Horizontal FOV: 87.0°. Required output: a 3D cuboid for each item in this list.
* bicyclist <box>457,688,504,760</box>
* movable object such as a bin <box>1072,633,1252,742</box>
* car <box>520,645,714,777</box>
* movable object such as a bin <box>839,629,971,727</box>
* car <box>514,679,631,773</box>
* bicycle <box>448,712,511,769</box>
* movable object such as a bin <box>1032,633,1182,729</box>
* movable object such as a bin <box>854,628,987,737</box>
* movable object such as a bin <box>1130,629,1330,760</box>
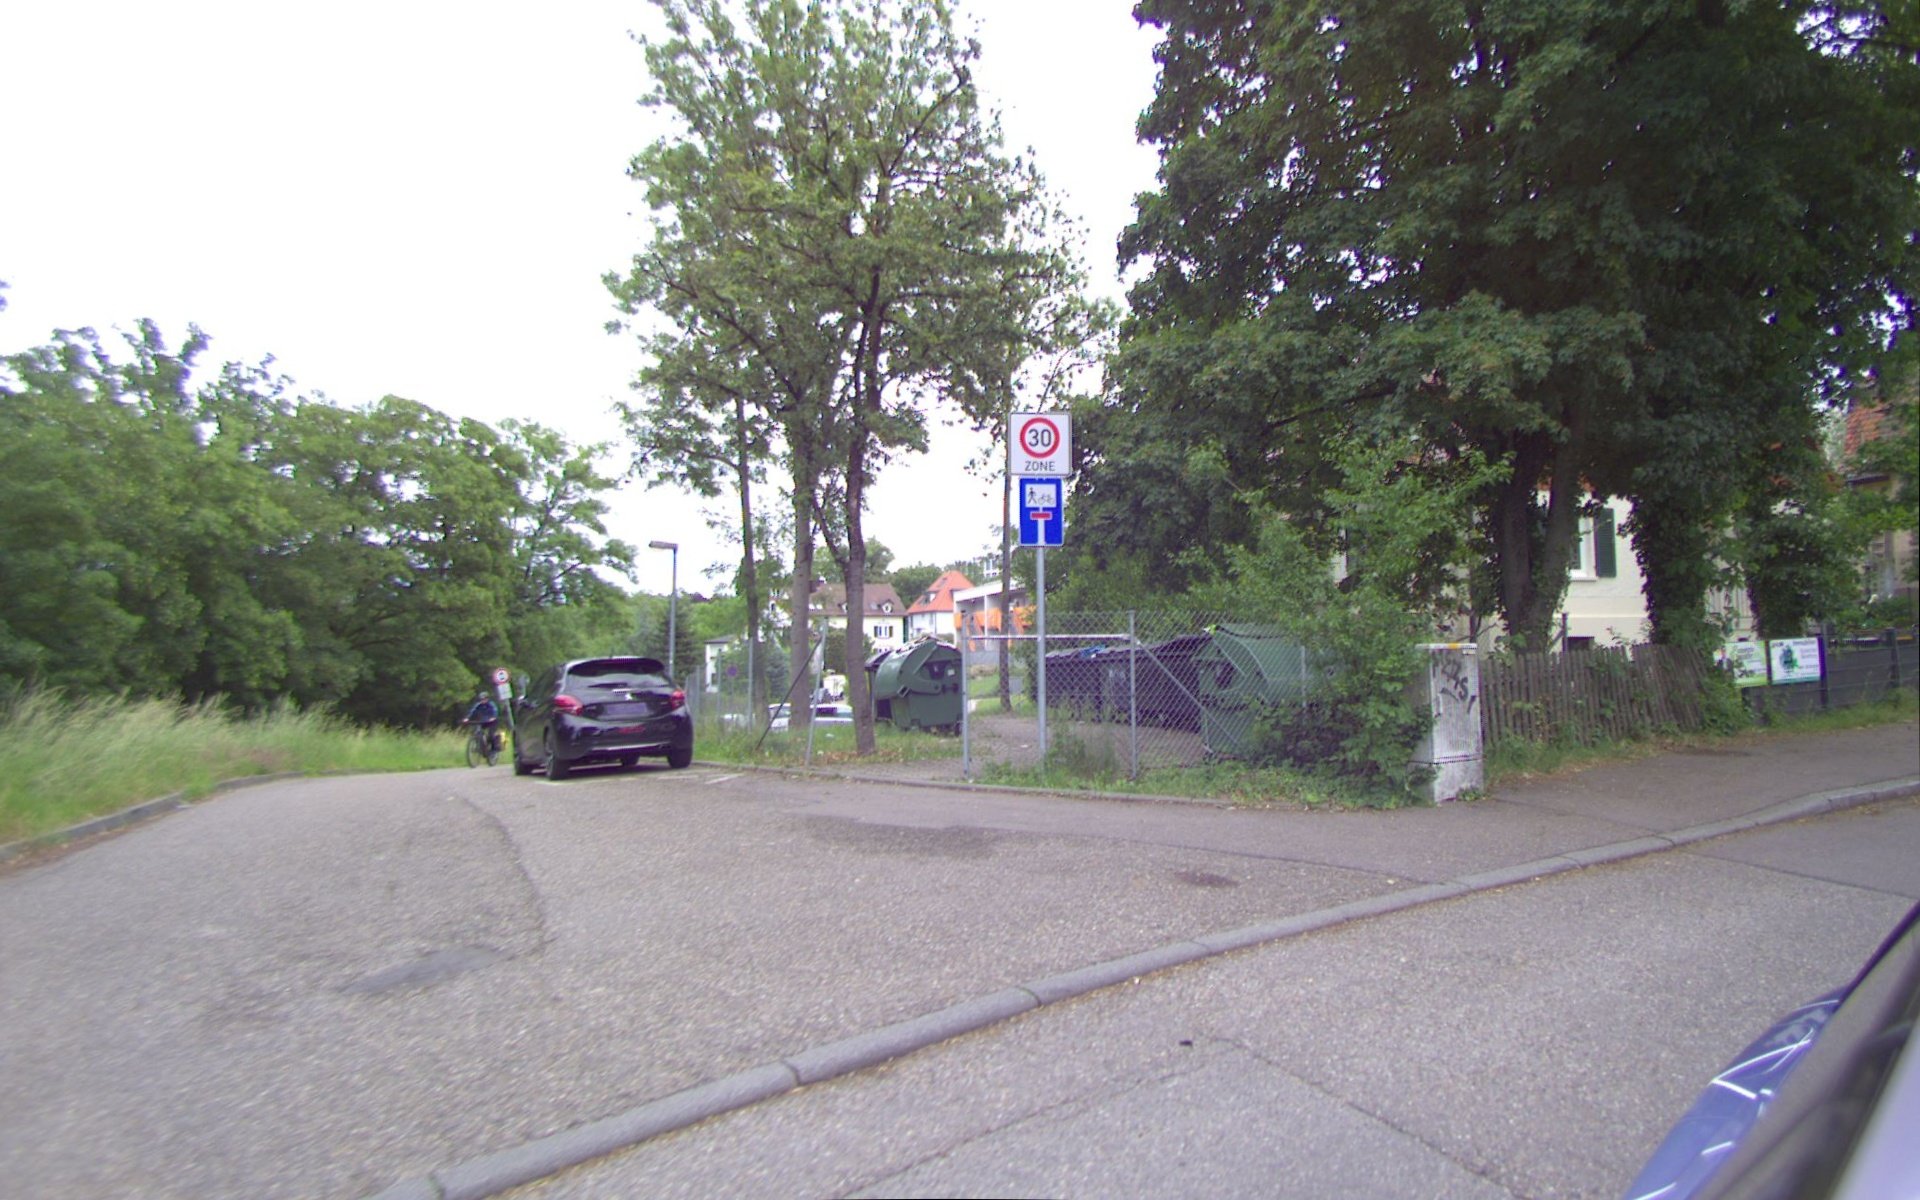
[{"bbox_3d":[-11.531,2.957,24.350,0.750,1.606,0.964,-1,-2,-8],"label":"bicyclist"},{"bbox_3d":[3.568,1.494,18.236,2.162,1.735,2.504,0,-2,-20],"label":"movable object such as a bin"},{"bbox_3d":[-4.686,1.479,13.466,1.795,1.417,3.672,-1,-6,-29],"label":"car"},{"bbox_3d":[-1.048,1.314,18.056,1.417,1.568,2.901,0,-2,-23],"label":"movable object such as a bin"},{"bbox_3d":[-6.742,2.159,17.427,1.519,1.346,3.602,-1,-6,-27],"label":"car"},{"bbox_3d":[-11.518,3.351,24.332,0.750,1.084,2.197,-1,-2,-8],"label":"bicycle"},{"bbox_3d":[2.930,1.573,20.546,2.162,1.754,2.239,0,-2,-20],"label":"movable object such as a bin"},{"bbox_3d":[-0.640,1.229,15.686,1.640,1.568,1.428,0,-2,-24],"label":"movable object such as a bin"},{"bbox_3d":[4.154,1.387,15.802,2.162,1.810,2.113,0,-2,-20],"label":"movable object such as a bin"}]
